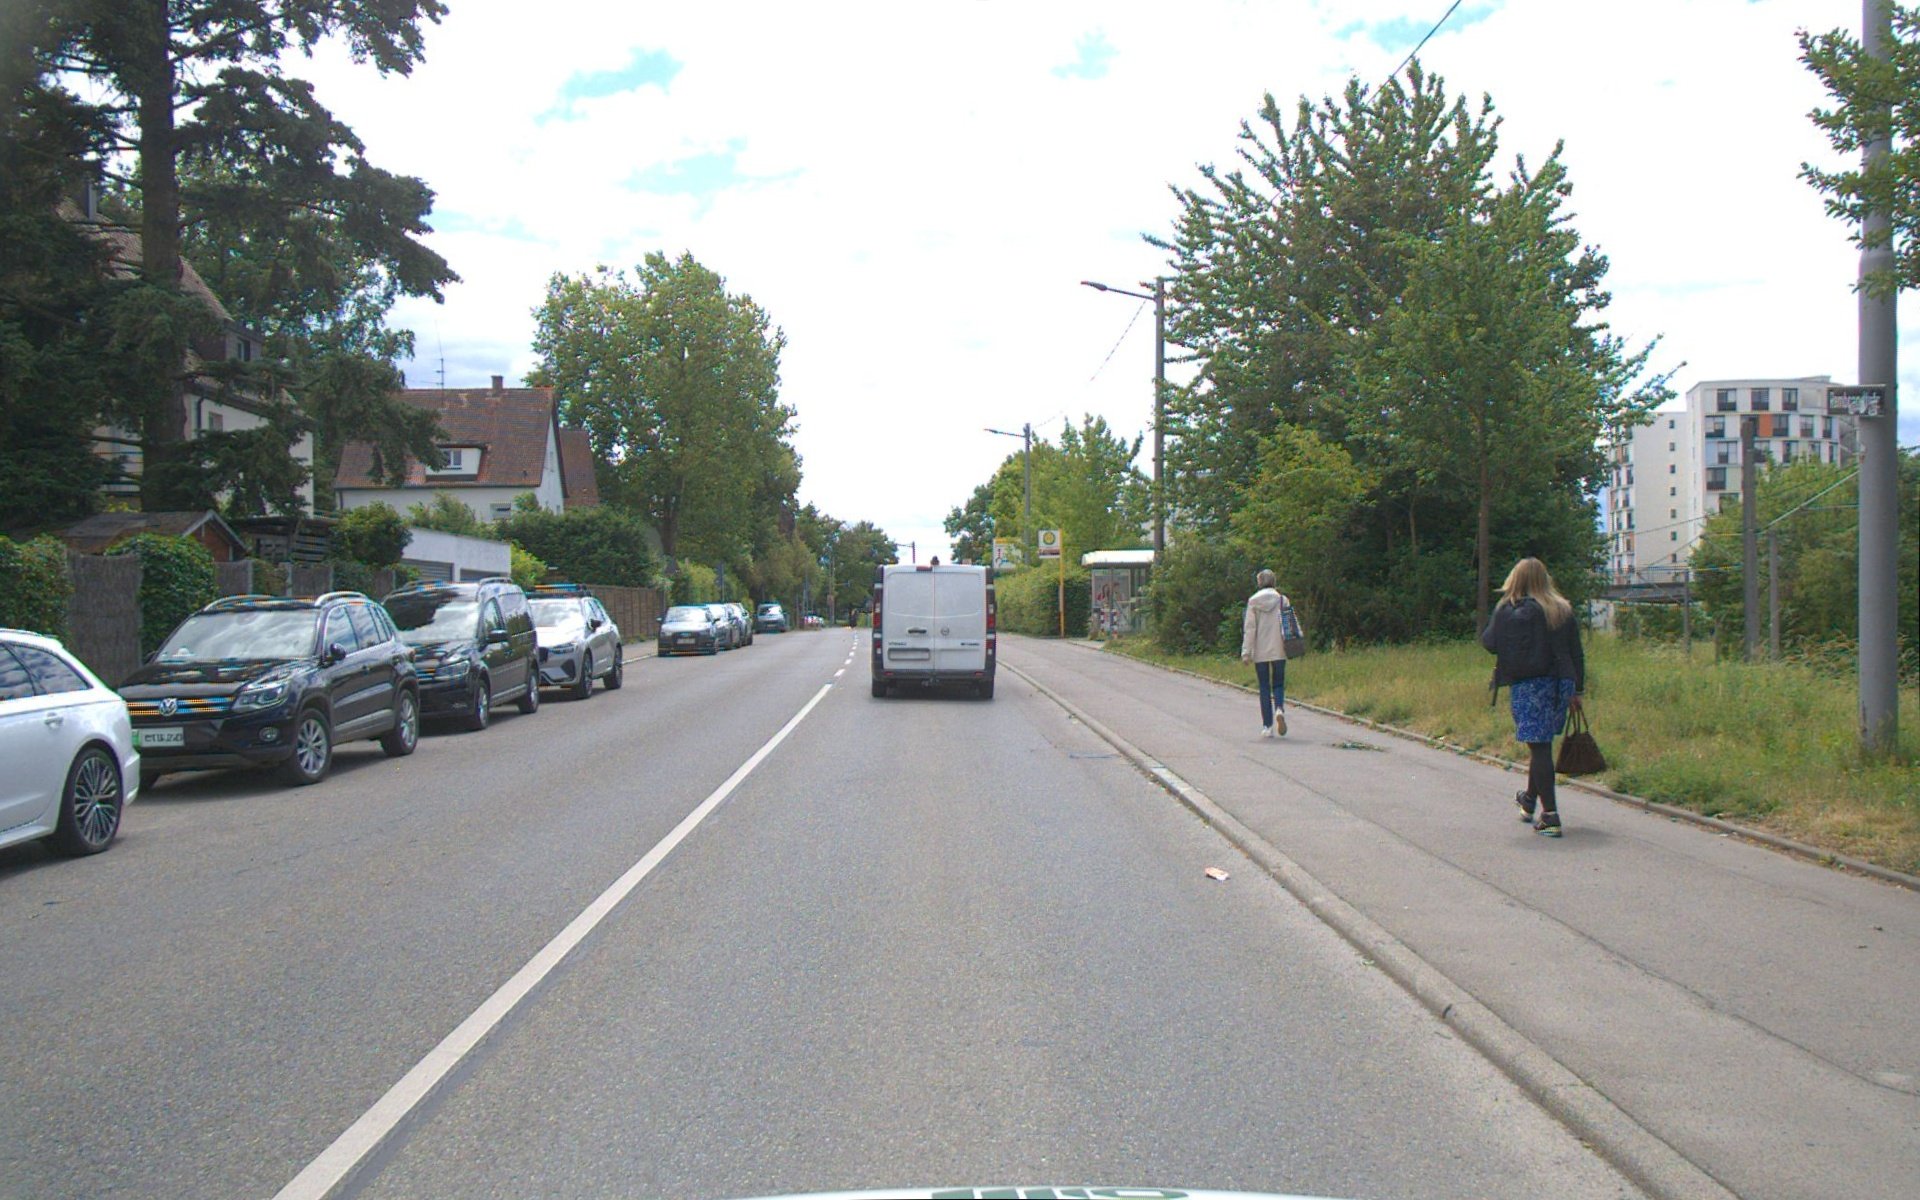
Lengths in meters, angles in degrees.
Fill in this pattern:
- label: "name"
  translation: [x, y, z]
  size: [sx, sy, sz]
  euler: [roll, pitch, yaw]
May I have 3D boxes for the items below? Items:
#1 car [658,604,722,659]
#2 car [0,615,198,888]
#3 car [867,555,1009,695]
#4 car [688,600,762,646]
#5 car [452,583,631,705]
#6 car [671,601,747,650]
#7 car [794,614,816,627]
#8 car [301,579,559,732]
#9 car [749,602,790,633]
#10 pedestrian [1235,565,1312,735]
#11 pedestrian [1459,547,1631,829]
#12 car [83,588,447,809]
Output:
- label: "car"
  translation: [-7.920, 0.885, 48.780]
  size: [1.620, 1.452, 3.900]
  euler: [-2, 1, -7]
- label: "car"
  translation: [-6.292, 0.914, 9.102]
  size: [1.768, 1.484, 5.069]
  euler: [-3, 1, 0]
- label: "car"
  translation: [-0.328, 0.356, 26.014]
  size: [1.993, 1.979, 4.993]
  euler: [0, 0, 0]
- label: "car"
  translation: [-8.366, 0.790, 59.210]
  size: [1.953, 1.505, 4.646]
  euler: [-2, 0, -1]
- label: "car"
  translation: [-6.911, 0.652, 27.827]
  size: [1.945, 1.850, 4.706]
  euler: [-1, 1, -2]
- label: "car"
  translation: [-8.089, 0.799, 53.644]
  size: [1.829, 1.484, 4.487]
  euler: [-1, 0, -1]
- label: "car"
  translation: [-17.575, 2.341, 187.349]
  size: [2.027, 1.410, 4.034]
  euler: [-1, 1, -13]
- label: "car"
  translation: [-6.823, 0.657, 21.898]
  size: [2.025, 1.785, 4.881]
  euler: [0, 0, -3]
- label: "car"
  translation: [-11.308, 1.025, 97.907]
  size: [2.093, 1.803, 4.453]
  euler: [0, 0, -10]
- label: "pedestrian"
  translation: [3.188, 0.498, 16.861]
  size: [0.671, 1.688, 0.690]
  euler: [0, 0, 3]
- label: "pedestrian"
  translation: [3.633, 0.528, 10.335]
  size: [0.822, 1.688, 0.766]
  euler: [0, 0, 3]
- label: "car"
  translation: [-6.420, 0.792, 15.881]
  size: [1.594, 1.707, 4.582]
  euler: [-3, 1, -2]
